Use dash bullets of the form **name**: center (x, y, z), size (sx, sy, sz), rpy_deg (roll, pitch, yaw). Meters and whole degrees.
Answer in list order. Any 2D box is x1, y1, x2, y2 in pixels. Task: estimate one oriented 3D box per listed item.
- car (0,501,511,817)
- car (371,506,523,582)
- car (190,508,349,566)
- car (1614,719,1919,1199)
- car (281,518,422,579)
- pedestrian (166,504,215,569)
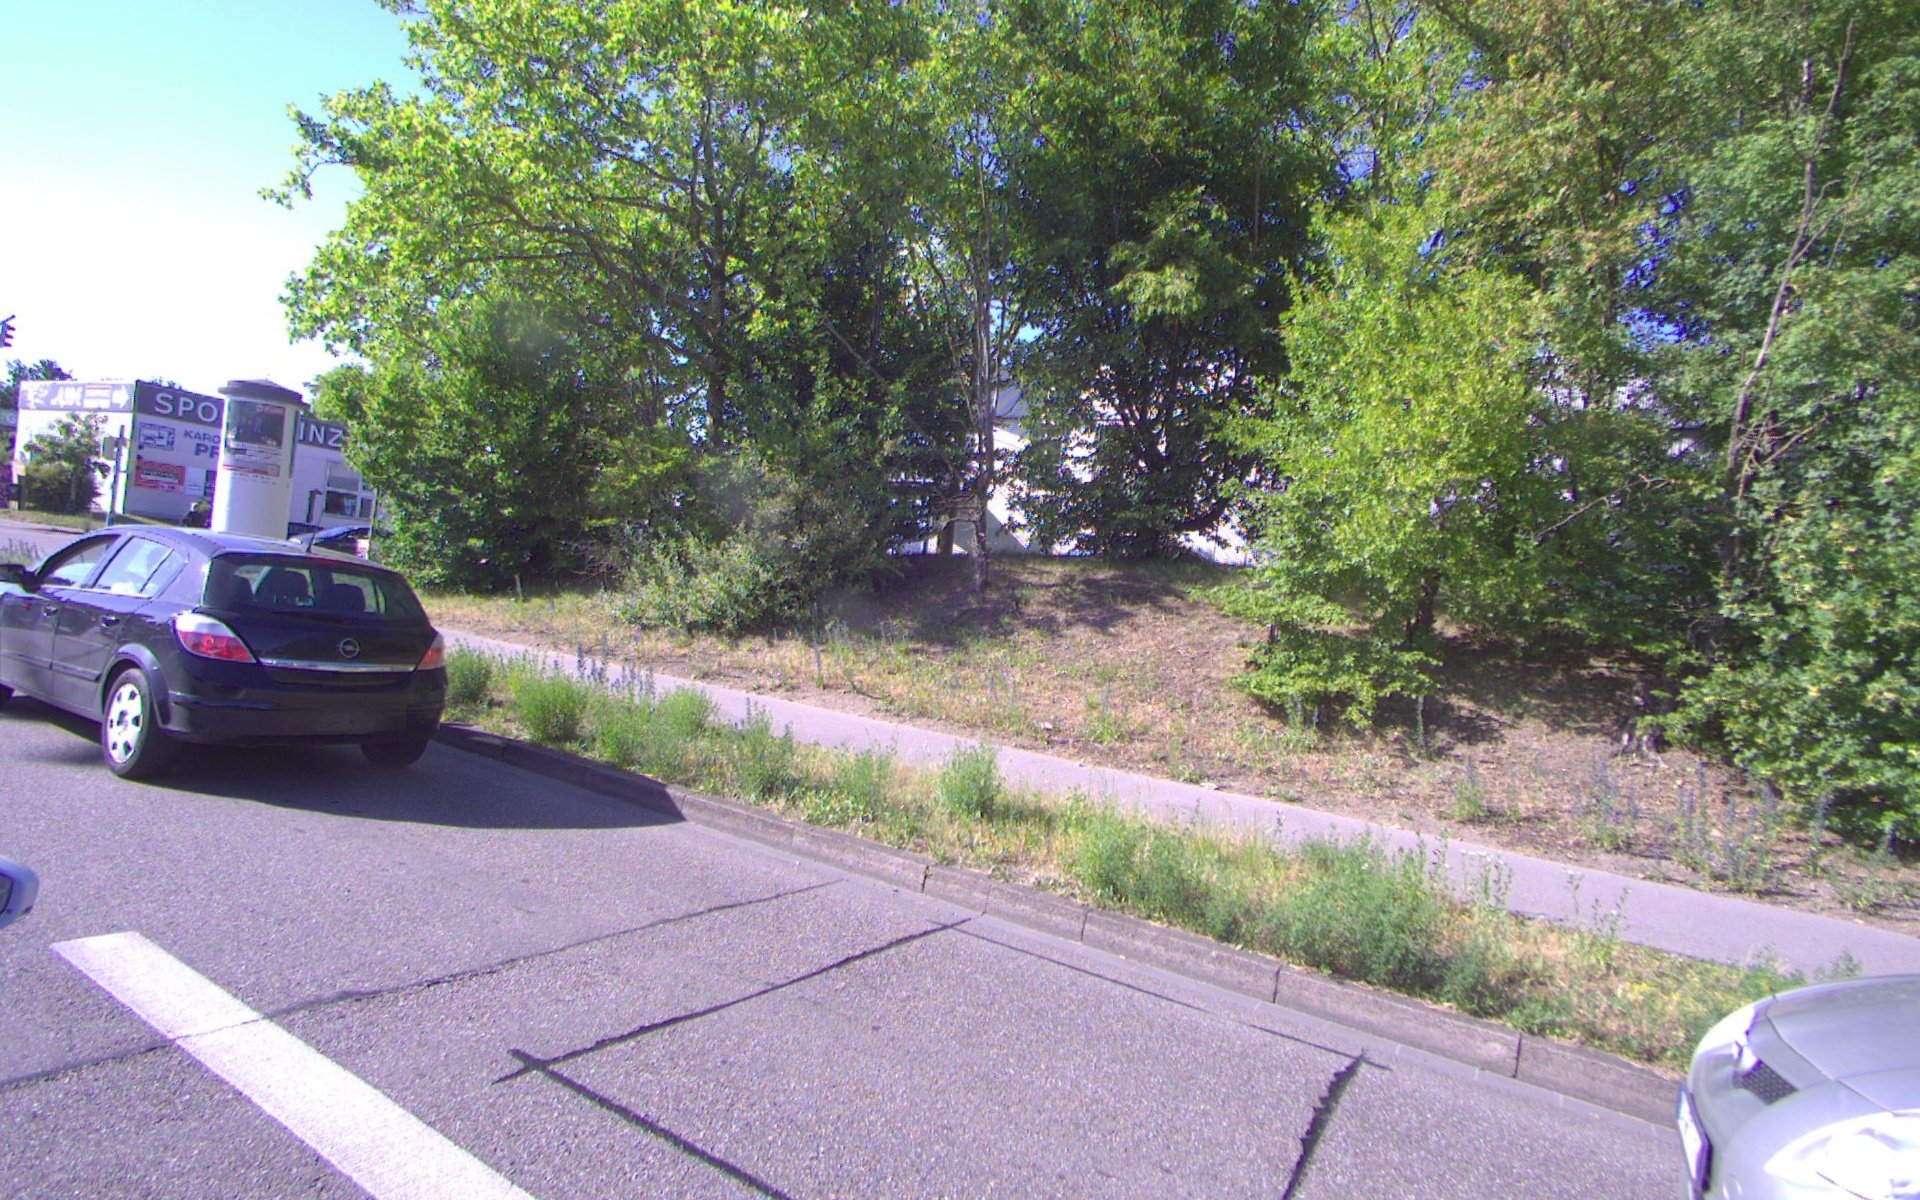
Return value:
- **car**: center (-5.277, 0.242, 6.940), size (4.299, 1.458, 1.737), rpy_deg (7, -2, 32)
- **car**: center (-23.340, -2.478, 46.079), size (1.967, 2.706, 5.840), rpy_deg (6, 0, 32)
- **car**: center (-27.242, -2.450, 39.892), size (1.729, 1.484, 4.831), rpy_deg (6, -2, 30)
- **car**: center (3.615, 1.304, 1.652), size (4.040, 1.555, 1.787), rpy_deg (7, -2, 32)
- **car**: center (-23.549, -1.964, 39.116), size (1.611, 1.668, 4.316), rpy_deg (6, -2, 31)
- **pedestrian**: center (-21.786, -1.796, 28.493), size (0.506, 1.688, 0.818), rpy_deg (7, -1, 31)
